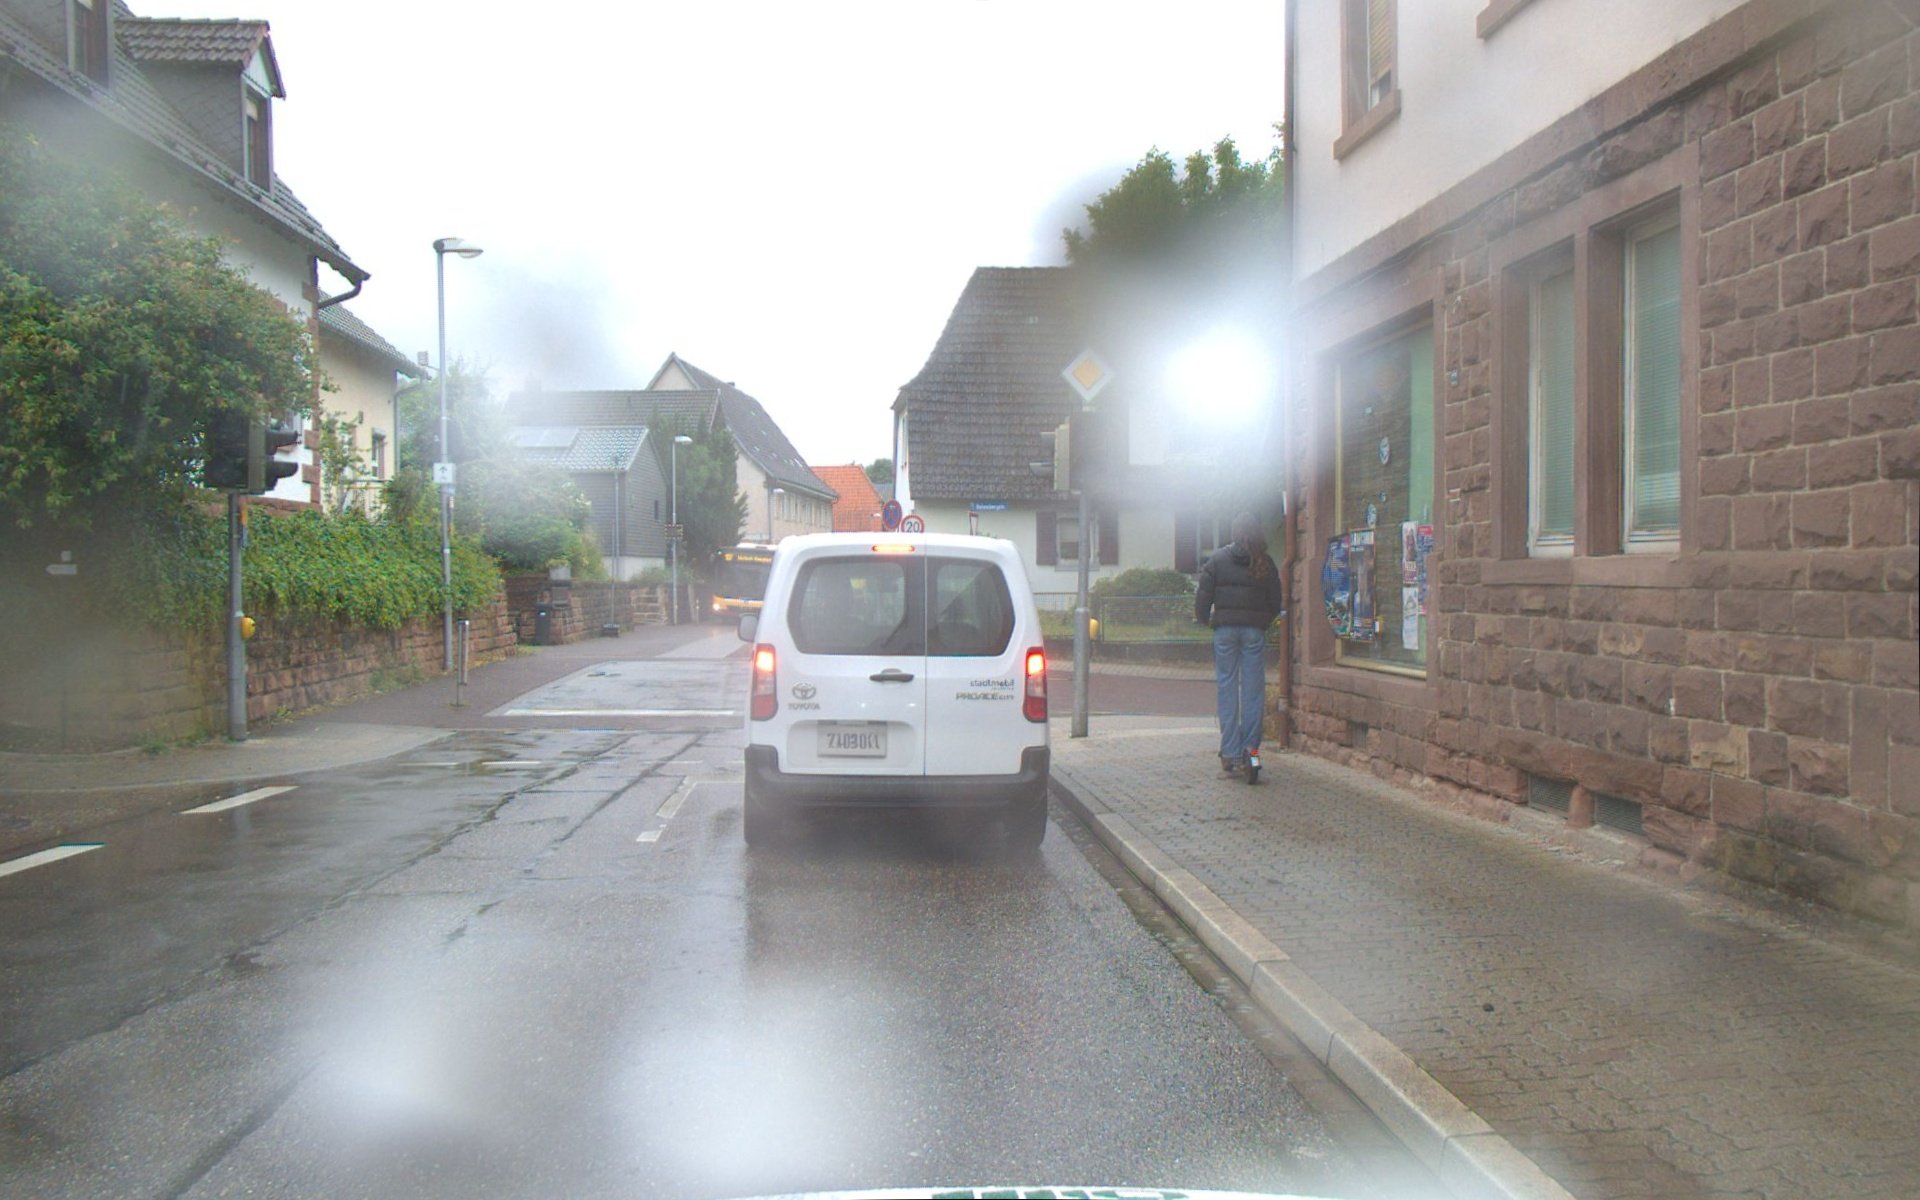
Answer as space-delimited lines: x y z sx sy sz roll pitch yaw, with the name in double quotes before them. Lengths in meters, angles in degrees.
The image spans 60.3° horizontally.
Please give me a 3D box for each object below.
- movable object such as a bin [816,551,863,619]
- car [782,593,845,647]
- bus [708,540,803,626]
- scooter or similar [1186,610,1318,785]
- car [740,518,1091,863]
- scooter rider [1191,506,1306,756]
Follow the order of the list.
"movable object such as a bin" -4.955 -0.625 68.336 1.692 2.699 3.973 1 0 -1
"car" -4.633 0.606 52.842 1.773 1.624 3.754 1 1 -2
"bus" -7.905 -0.827 65.280 2.596 3.051 12.190 1 2 -2
"scooter or similar" 2.075 0.664 11.908 0.608 1.146 1.401 0 1 -4
"car" -0.374 0.476 10.811 1.857 1.825 3.810 1 0 -4
"scooter rider" 2.078 0.222 11.949 0.716 1.763 0.517 0 0 -5
